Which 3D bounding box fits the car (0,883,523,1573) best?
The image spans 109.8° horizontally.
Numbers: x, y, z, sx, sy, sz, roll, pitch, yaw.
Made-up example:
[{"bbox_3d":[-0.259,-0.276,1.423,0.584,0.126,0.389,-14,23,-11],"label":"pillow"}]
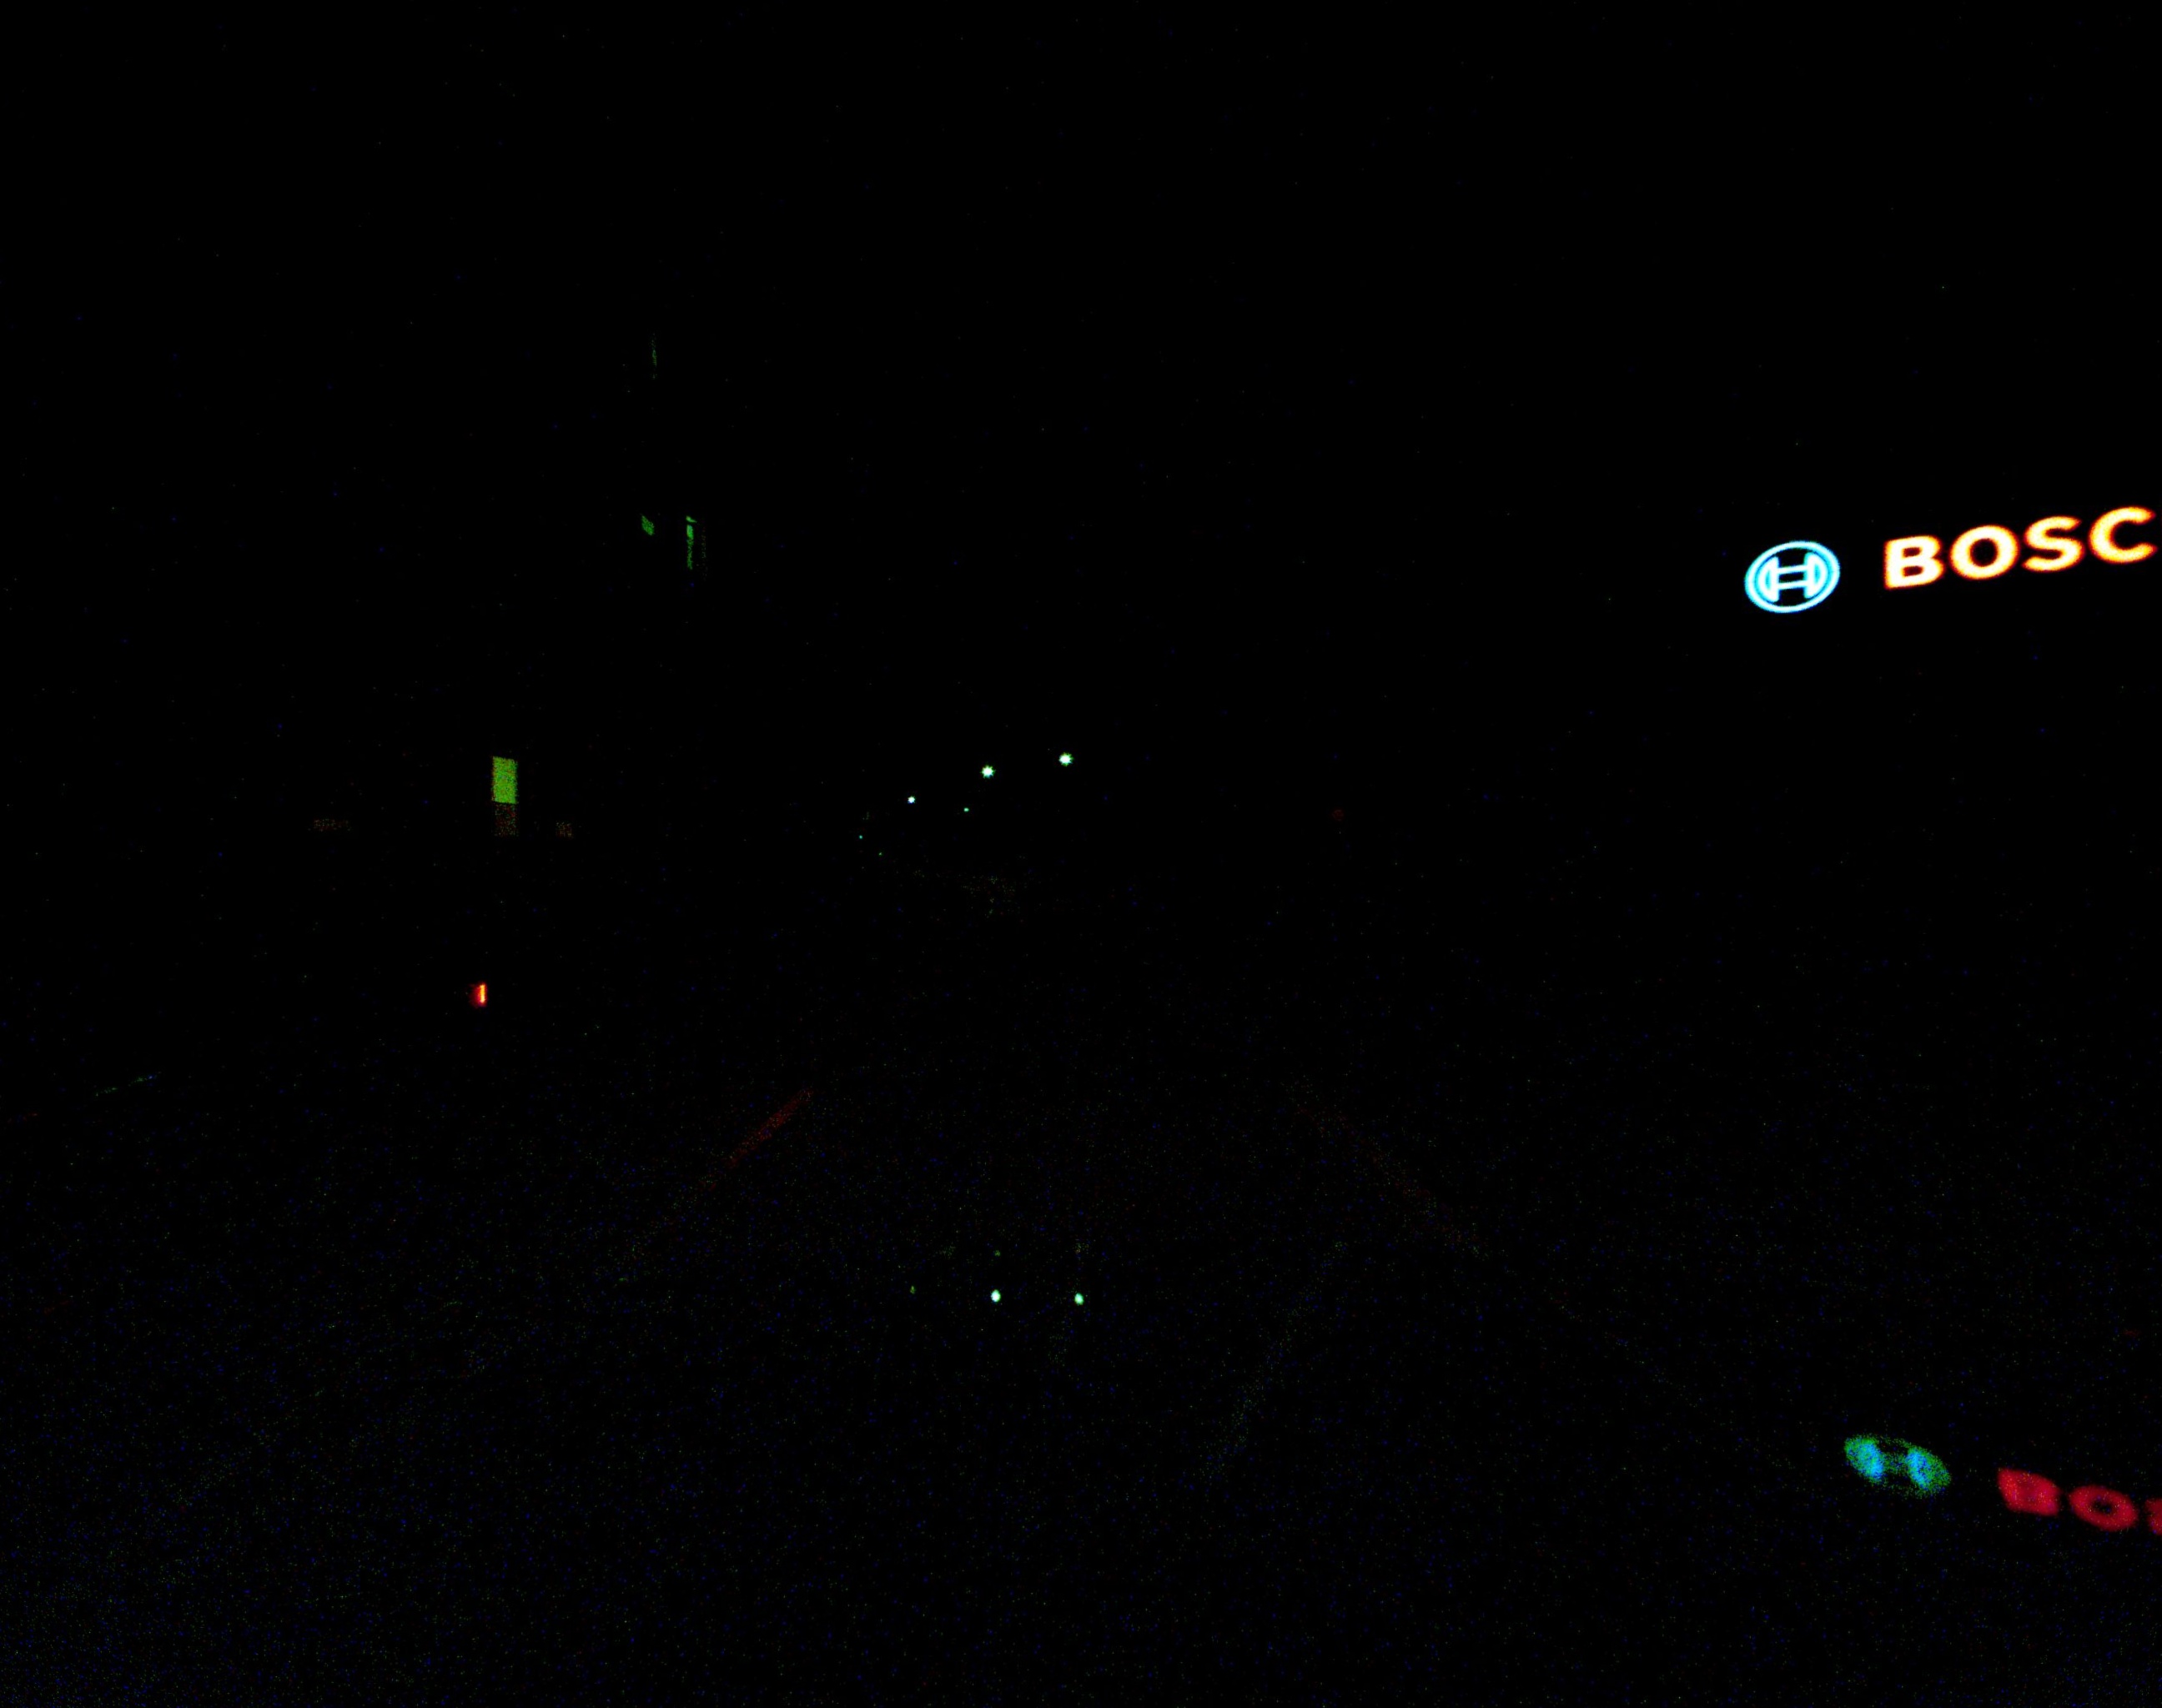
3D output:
[{"bbox_3d":[-3.520,0.996,1.476,1.674,1.601,4.228,-1,1,0],"label":"car"}]
